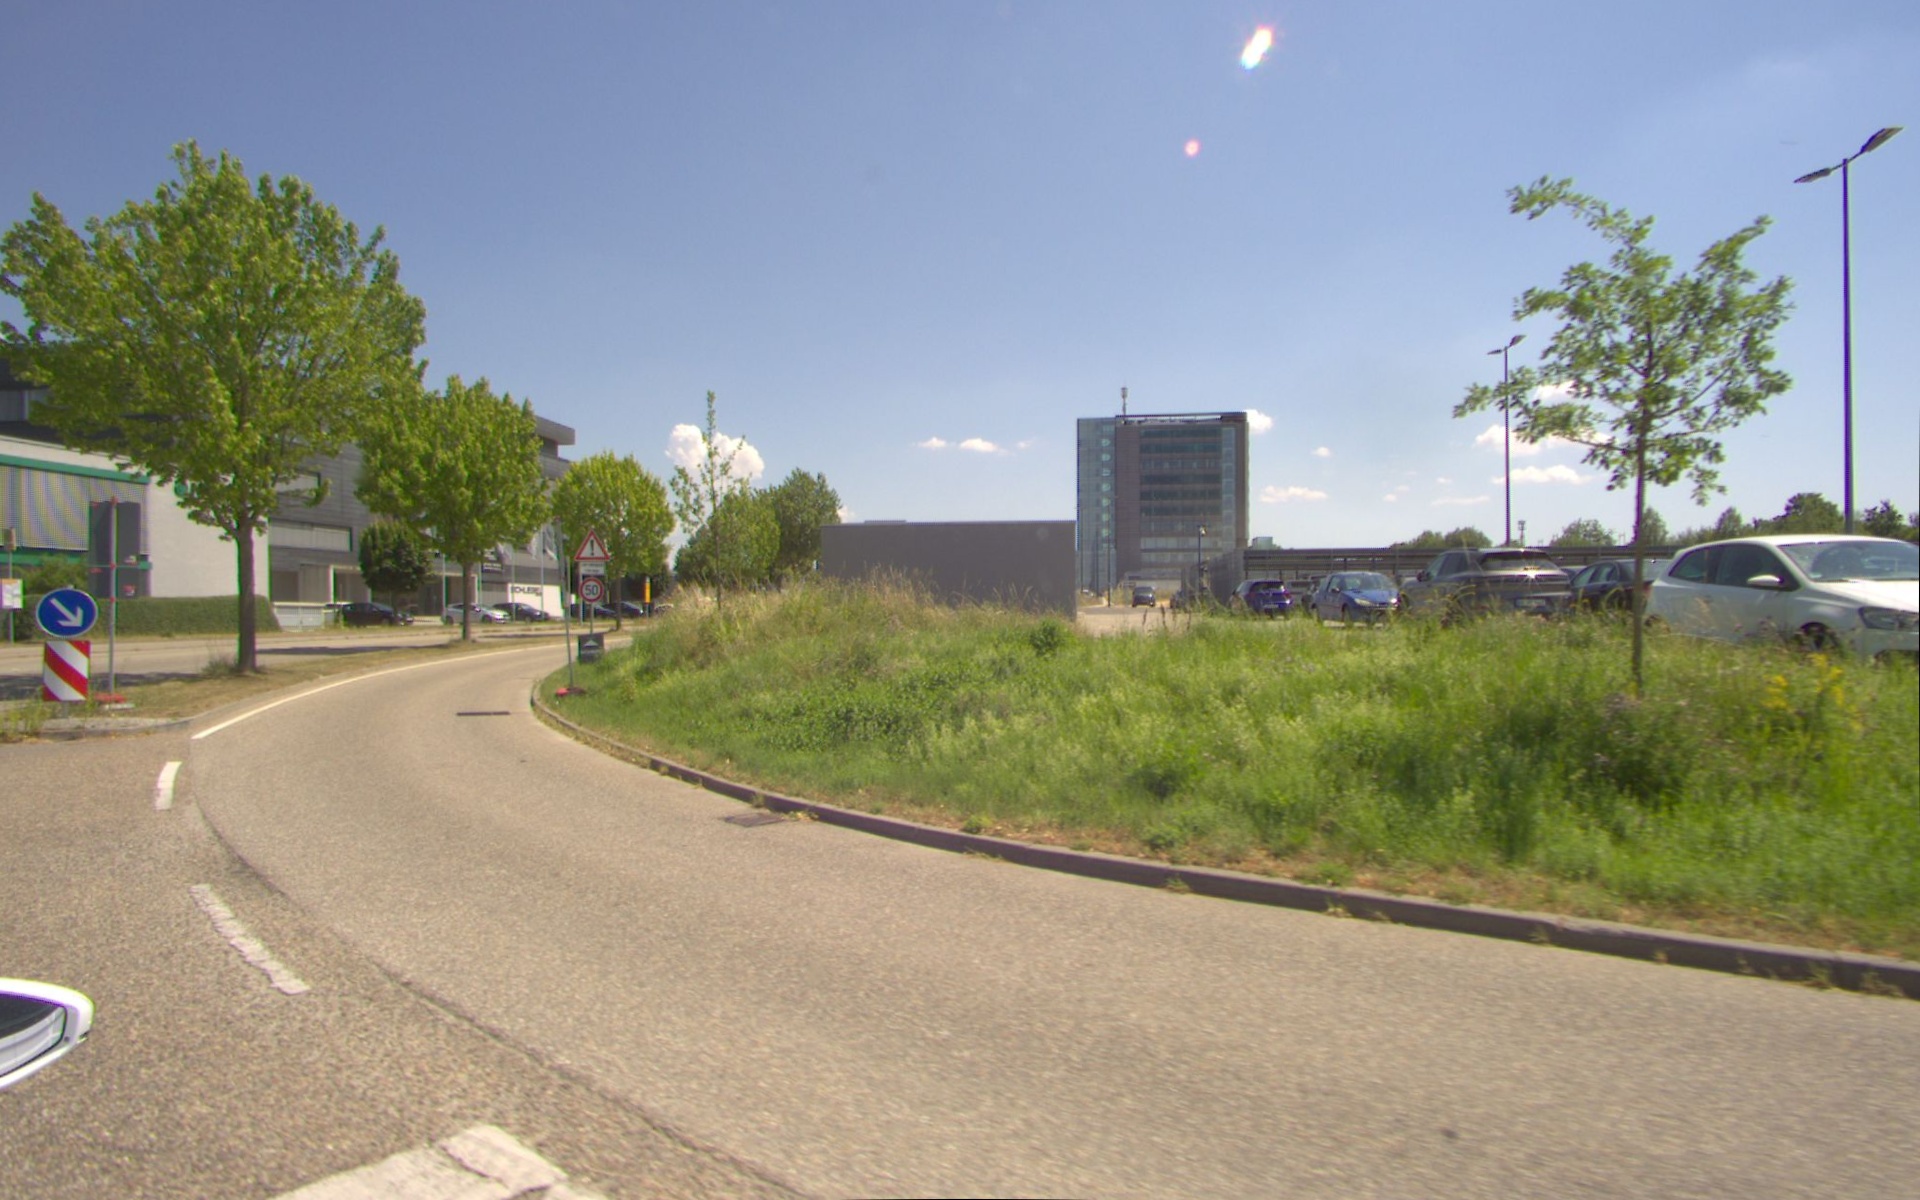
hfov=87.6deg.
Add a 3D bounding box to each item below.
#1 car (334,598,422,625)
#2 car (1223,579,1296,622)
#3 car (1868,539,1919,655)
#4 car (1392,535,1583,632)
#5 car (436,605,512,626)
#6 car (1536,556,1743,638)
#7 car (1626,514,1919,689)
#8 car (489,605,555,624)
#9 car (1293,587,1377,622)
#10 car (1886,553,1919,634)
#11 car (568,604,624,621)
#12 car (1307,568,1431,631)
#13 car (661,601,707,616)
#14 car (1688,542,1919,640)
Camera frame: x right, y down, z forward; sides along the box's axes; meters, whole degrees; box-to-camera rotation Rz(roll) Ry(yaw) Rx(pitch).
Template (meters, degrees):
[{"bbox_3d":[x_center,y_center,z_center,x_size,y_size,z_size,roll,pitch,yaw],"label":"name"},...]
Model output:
[{"bbox_3d":[-31.617,0.613,54.411,3.842,1.398,1.704,-1,1,6],"label":"car"},{"bbox_3d":[10.713,0.019,36.055,1.556,1.428,3.475,-1,0,-1],"label":"car"},{"bbox_3d":[10.523,-0.073,9.266,1.472,1.197,3.270,-3,-1,6],"label":"car"},{"bbox_3d":[10.323,-0.223,20.019,1.743,1.712,4.606,0,-2,5],"label":"car"},{"bbox_3d":[-31.071,1.002,64.040,4.194,1.197,1.494,-2,-2,6],"label":"car"},{"bbox_3d":[12.850,-0.065,19.236,1.621,1.381,3.847,-1,1,5],"label":"car"},{"bbox_3d":[8.123,-0.003,9.376,1.544,1.314,3.877,-3,-1,8],"label":"car"},{"bbox_3d":[-30.317,1.012,69.420,3.817,1.198,1.705,-1,1,6],"label":"car"},{"bbox_3d":[13.290,0.155,35.702,1.539,1.099,3.746,-3,0,-1],"label":"car"},{"bbox_3d":[19.772,-0.202,18.879,1.492,1.593,3.422,-2,-2,3],"label":"car"},{"bbox_3d":[-28.571,0.964,78.647,3.817,1.291,1.705,-1,1,6],"label":"car"},{"bbox_3d":[10.295,-0.015,25.453,1.620,1.465,3.639,-1,0,-1],"label":"car"},{"bbox_3d":[-26.420,0.828,95.862,3.817,1.291,1.705,-1,1,6],"label":"car"},{"bbox_3d":[15.743,-0.173,18.783,1.735,1.619,3.638,-1,1,5],"label":"car"}]
